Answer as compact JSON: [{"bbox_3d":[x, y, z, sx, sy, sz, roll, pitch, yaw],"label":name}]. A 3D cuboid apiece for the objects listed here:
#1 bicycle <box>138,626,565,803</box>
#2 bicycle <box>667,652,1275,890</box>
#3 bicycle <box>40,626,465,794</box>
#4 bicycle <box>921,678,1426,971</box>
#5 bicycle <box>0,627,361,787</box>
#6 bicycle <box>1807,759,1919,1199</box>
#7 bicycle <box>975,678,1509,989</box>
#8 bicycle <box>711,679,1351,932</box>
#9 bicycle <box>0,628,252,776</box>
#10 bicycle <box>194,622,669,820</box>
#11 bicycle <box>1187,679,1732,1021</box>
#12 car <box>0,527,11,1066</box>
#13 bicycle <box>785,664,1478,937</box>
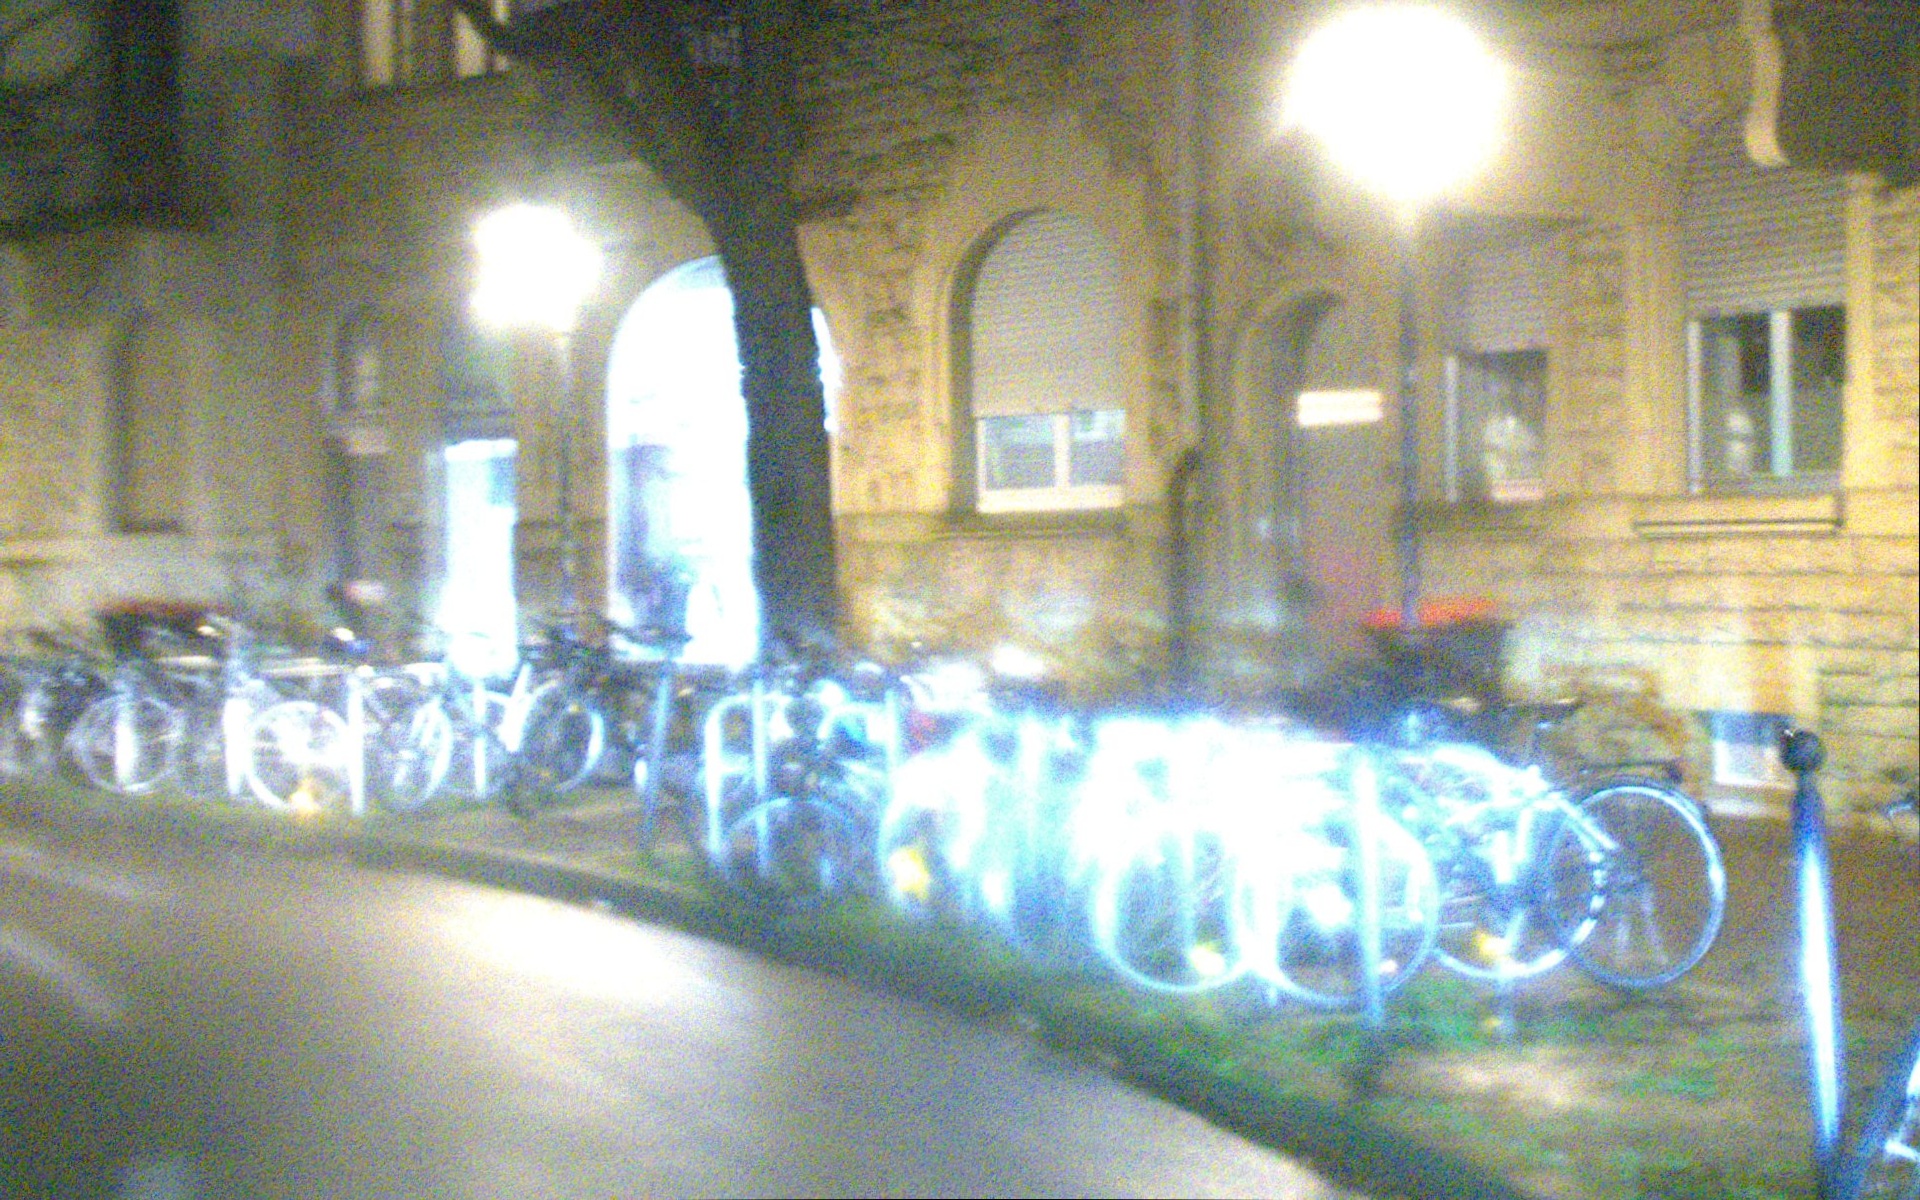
[{"bbox_3d":[-3.872,0.707,22.119,2.768,1.023,0.725,-1,1,-44],"label":"bicycle"},{"bbox_3d":[0.053,0.780,16.186,2.766,1.023,0.725,0,1,-16],"label":"bicycle"},{"bbox_3d":[-4.720,0.713,23.109,2.768,1.023,0.725,-1,1,-39],"label":"bicycle"},{"bbox_3d":[0.841,0.859,13.464,1.930,1.056,0.451,-1,1,-16],"label":"bicycle"},{"bbox_3d":[-5.625,0.724,24.195,2.768,1.023,0.725,-1,1,-39],"label":"bicycle"},{"bbox_3d":[2.506,0.838,6.629,1.658,1.056,0.451,0,1,-11],"label":"bicycle"},{"bbox_3d":[1.046,0.842,12.705,1.930,1.056,0.451,-1,1,-16],"label":"bicycle"},{"bbox_3d":[0.321,0.892,15.366,2.766,1.023,0.725,0,1,-16],"label":"bicycle"},{"bbox_3d":[-6.650,0.744,25.347,2.768,1.023,0.725,-1,1,-39],"label":"bicycle"},{"bbox_3d":[-3.193,0.710,20.768,2.766,1.125,0.725,0,1,-16],"label":"bicycle"},{"bbox_3d":[1.646,0.807,11.365,1.729,1.056,0.451,0,1,-11],"label":"bicycle"},{"bbox_3d":[-3.561,0.546,8.568,1.730,1.608,3.462,0,-1,-6],"label":"car"},{"bbox_3d":[0.711,0.799,14.191,2.766,1.023,0.725,0,1,-16],"label":"bicycle"}]
